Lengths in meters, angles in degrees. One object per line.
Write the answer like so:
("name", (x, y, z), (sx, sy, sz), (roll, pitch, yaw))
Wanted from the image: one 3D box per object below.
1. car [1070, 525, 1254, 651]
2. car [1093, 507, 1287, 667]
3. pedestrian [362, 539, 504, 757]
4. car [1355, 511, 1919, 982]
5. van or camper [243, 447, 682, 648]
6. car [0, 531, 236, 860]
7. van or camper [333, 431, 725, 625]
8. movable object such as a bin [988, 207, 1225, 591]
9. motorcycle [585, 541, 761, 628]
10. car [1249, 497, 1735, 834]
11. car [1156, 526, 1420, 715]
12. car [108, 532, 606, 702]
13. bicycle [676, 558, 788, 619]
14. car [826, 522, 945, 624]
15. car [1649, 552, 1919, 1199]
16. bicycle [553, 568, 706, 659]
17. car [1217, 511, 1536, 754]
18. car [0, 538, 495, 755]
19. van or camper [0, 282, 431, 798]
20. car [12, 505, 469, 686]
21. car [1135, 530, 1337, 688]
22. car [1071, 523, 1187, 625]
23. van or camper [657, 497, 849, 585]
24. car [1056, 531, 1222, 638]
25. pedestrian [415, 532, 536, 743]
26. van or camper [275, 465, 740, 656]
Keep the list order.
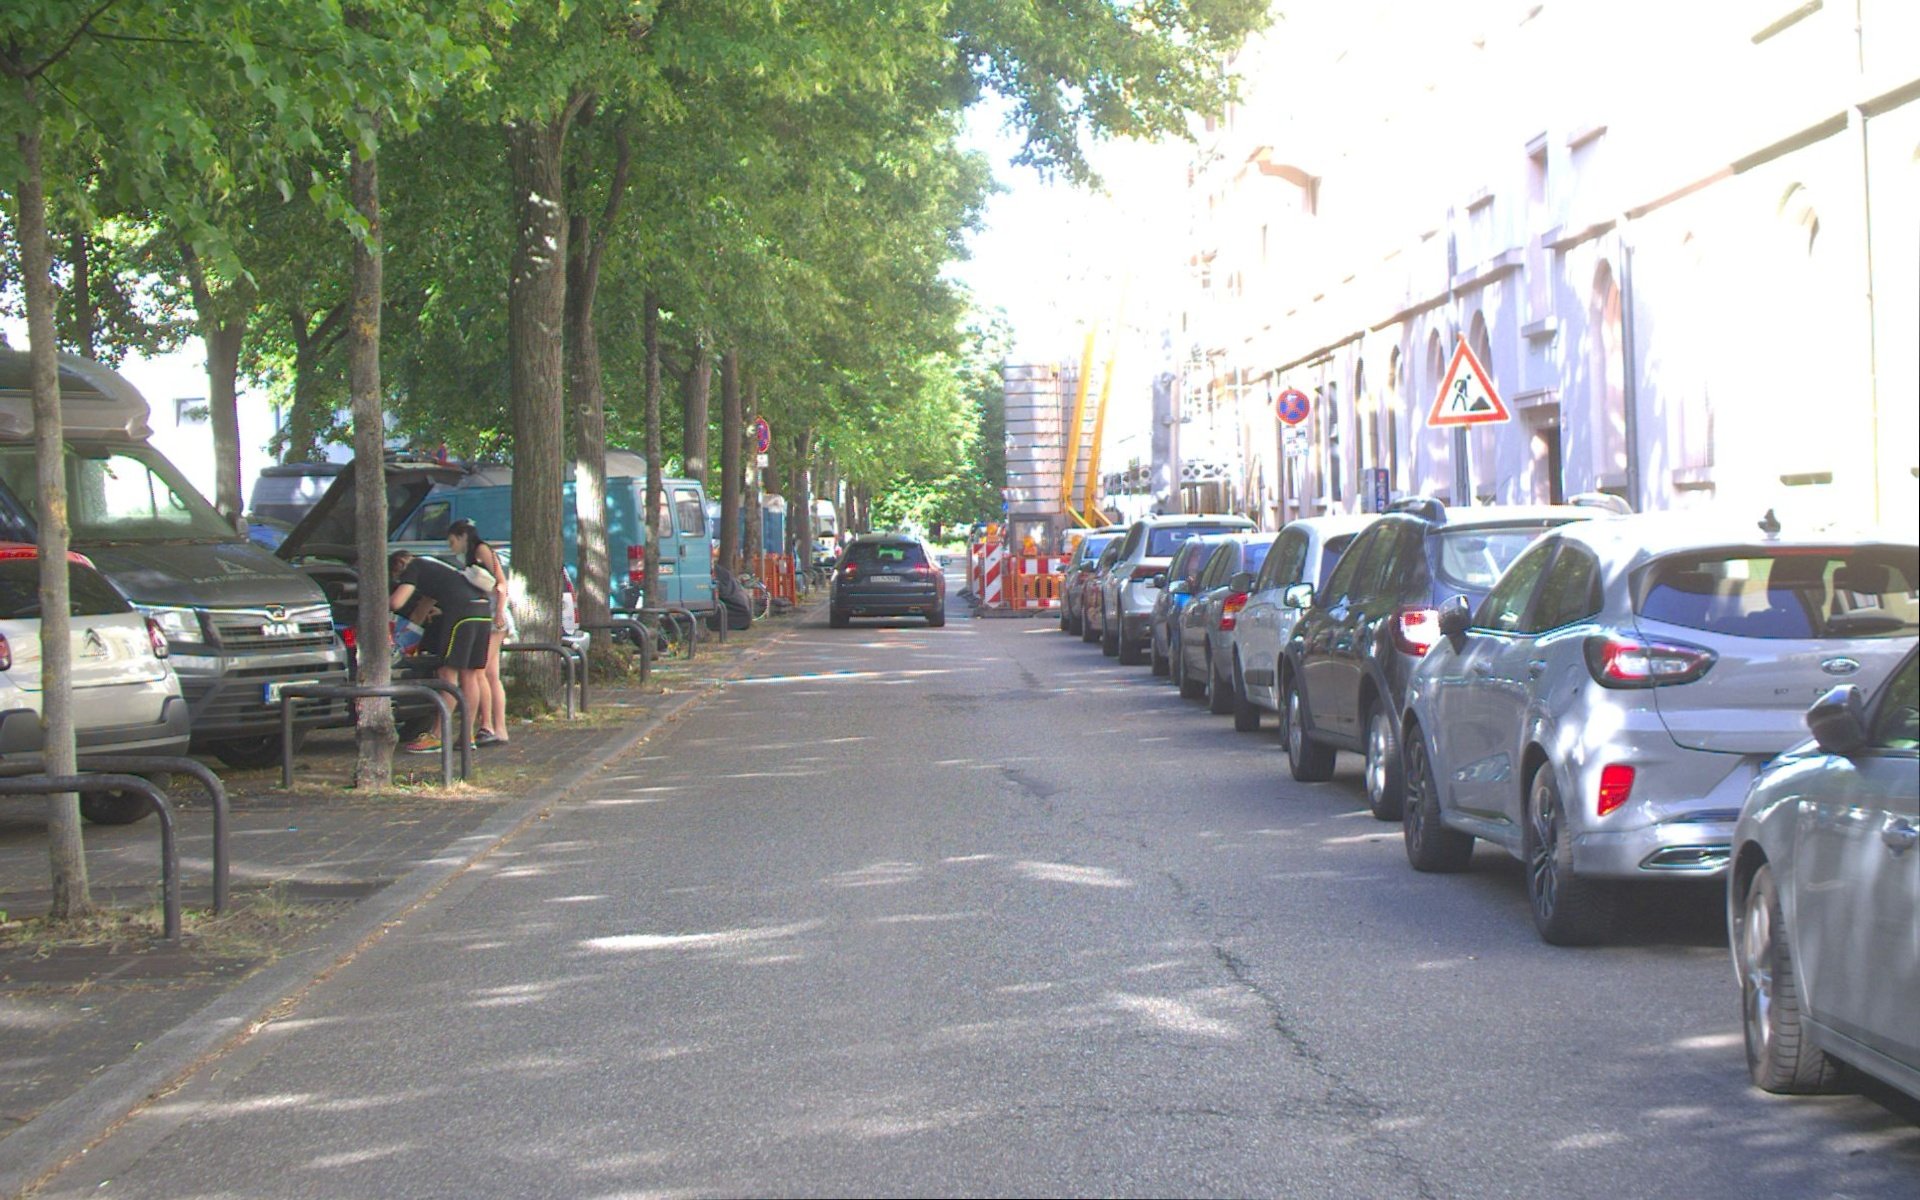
("car", (2.561, -0.198, 44.544), (1.790, 1.518, 3.965), (-1, 1, -5))
("car", (2.556, -0.195, 39.174), (1.816, 1.668, 4.674), (-1, 1, 0))
("pedestrian", (-3.598, 0.324, 23.498), (0.710, 1.451, 0.596), (-1, 1, 23))
("car", (2.756, 0.434, 13.471), (1.722, 1.523, 4.159), (-1, 1, -3))
("van or camper", (-7.041, -0.724, 48.449), (5.877, 2.628, 2.252), (-1, 2, 29))
("car", (-5.885, 0.466, 17.695), (3.993, 1.502, 1.755), (-1, 2, 28))
("van or camper", (-7.742, -1.266, 61.547), (6.666, 3.229, 2.492), (-1, 2, 28))
("movable object such as a bin", (2.665, -3.556, 62.321), (3.485, 6.736, 2.364), (0, 1, 32))
("motorcycle", (-4.370, -0.234, 52.402), (2.550, 1.254, 0.763), (-1, 1, 8))
("car", (2.756, 0.268, 18.720), (1.722, 1.591, 4.159), (-1, 1, -4))
("car", (2.646, 0.117, 28.519), (1.630, 1.408, 4.089), (-1, 1, -2))
("car", (-5.577, 0.150, 31.610), (4.482, 1.438, 1.729), (0, 2, 32))
("bicycle", (-3.901, -0.192, 58.854), (1.899, 1.003, 0.430), (-1, 1, 23))
("car", (-1.199, -0.454, 54.747), (1.797, 1.498, 3.586), (-2, 1, -2))
("car", (2.886, 0.621, 7.818), (1.722, 1.427, 4.158), (-1, 1, -1))
("bicycle", (-3.891, 0.154, 40.540), (1.719, 1.002, 0.511), (-2, 1, -30))
("car", (2.816, 0.167, 23.899), (1.630, 1.529, 3.593), (-1, 1, -2))
("car", (-5.629, 0.321, 24.669), (4.321, 1.419, 1.673), (-1, 1, 26))
("van or camper", (-7.102, -0.317, 22.099), (7.236, 2.919, 2.311), (-1, 1, 27))
("car", (-7.484, -0.046, 35.651), (4.553, 1.758, 1.807), (-1, 1, 30))
("car", (2.649, 0.043, 33.656), (1.617, 1.408, 3.788), (-1, 1, 0))
("car", (2.642, -0.426, 54.062), (1.591, 1.525, 2.781), (-1, 1, -2))
("van or camper", (-6.215, -1.762, 103.203), (5.342, 2.466, 2.290), (-1, 2, 32))
("car", (2.498, -0.255, 49.051), (1.993, 1.404, 4.501), (-1, 1, -2))
("pedestrian", (-3.384, 0.258, 24.048), (0.615, 1.451, 0.519), (-1, 1, 23))
("van or camper", (-5.824, -0.503, 44.205), (5.504, 2.267, 2.218), (-1, 1, 24))
